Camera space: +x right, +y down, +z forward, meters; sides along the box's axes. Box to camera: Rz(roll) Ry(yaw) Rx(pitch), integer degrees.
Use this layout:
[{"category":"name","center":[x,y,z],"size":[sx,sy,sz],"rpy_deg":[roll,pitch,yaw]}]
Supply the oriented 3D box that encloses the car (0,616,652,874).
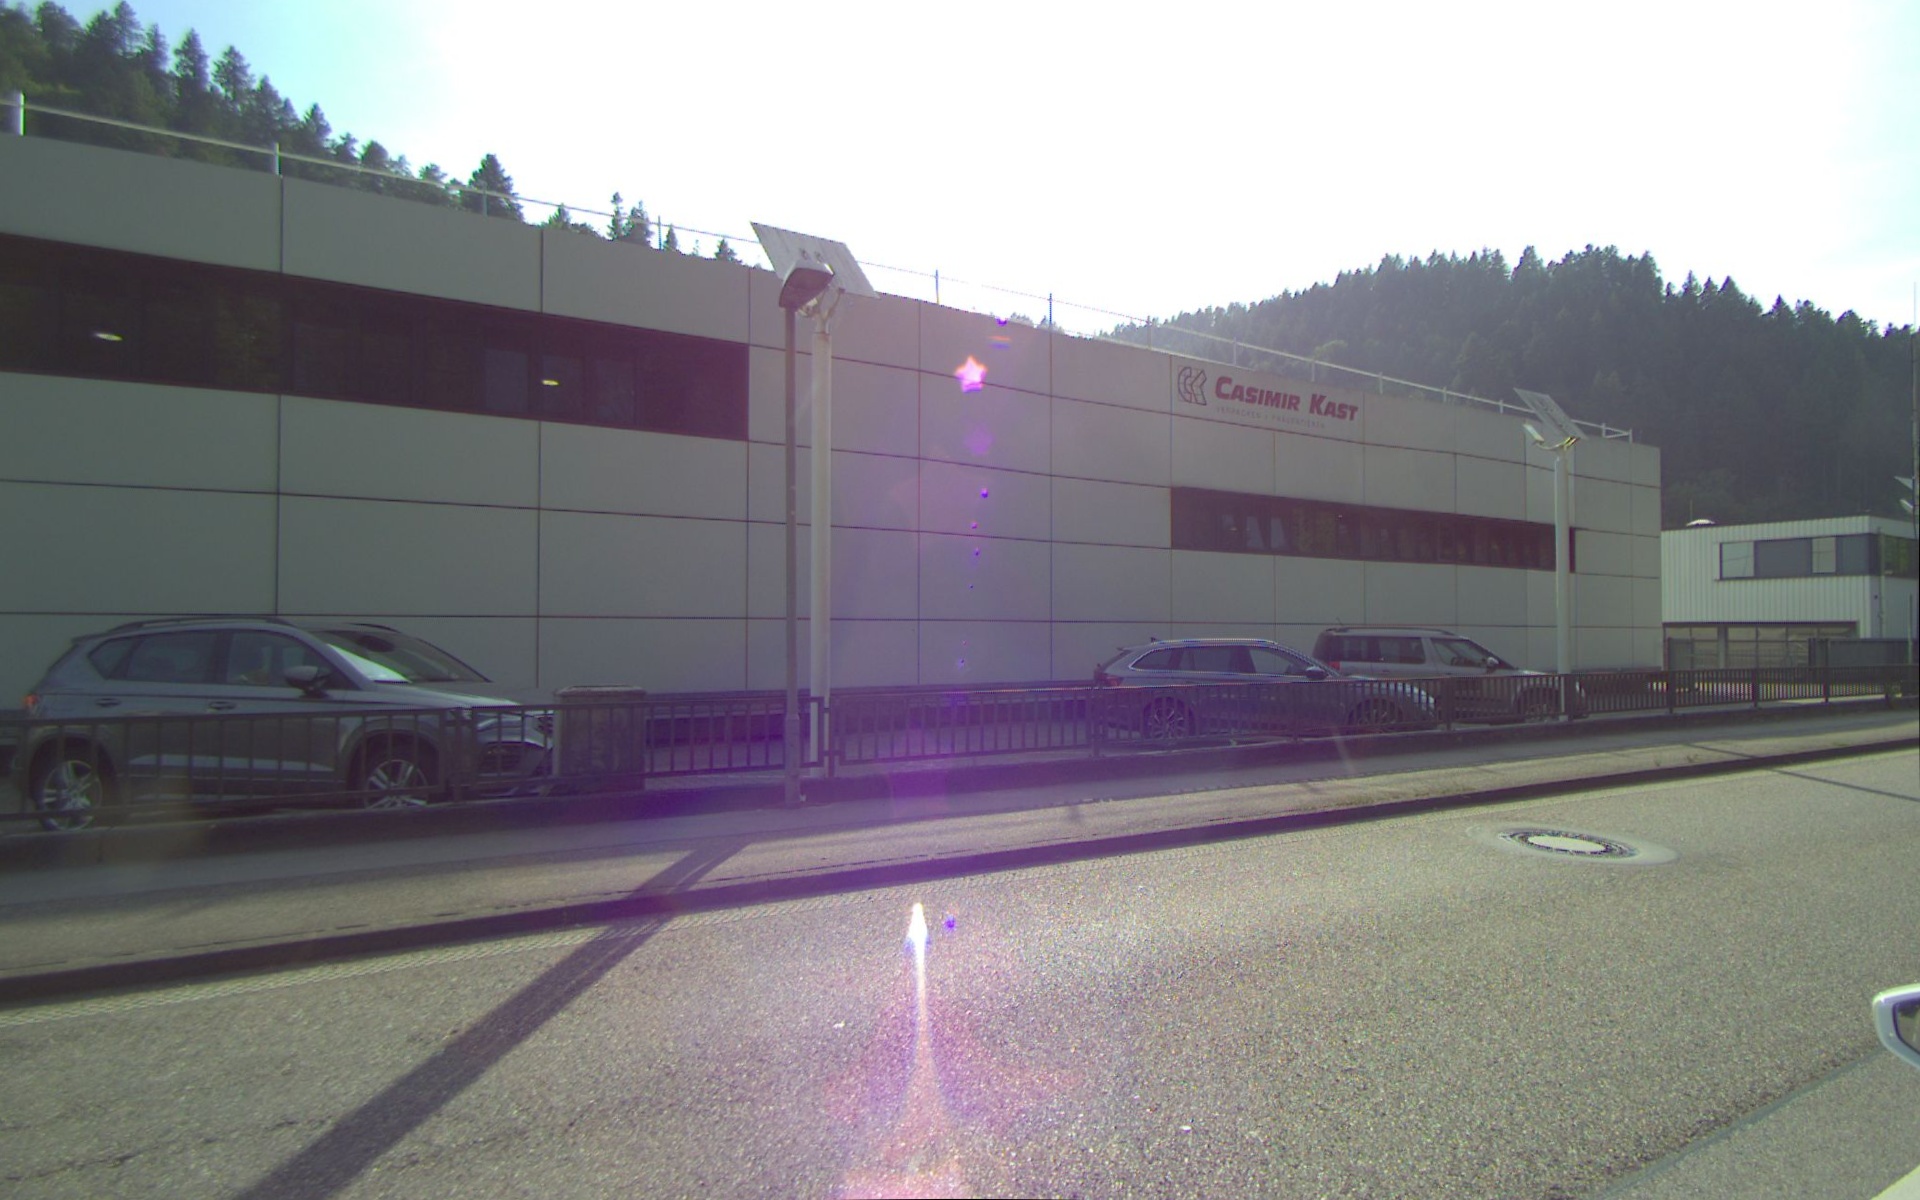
[{"category":"car","center":[-4.756,0.958,7.801],"size":[4.090,1.613,1.890],"rpy_deg":[0,-1,12]}]

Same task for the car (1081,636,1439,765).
[{"category":"car","center":[3.959,1.292,13.804],"size":[4.397,1.514,1.890],"rpy_deg":[0,-1,12]}]

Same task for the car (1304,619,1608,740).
[{"category":"car","center":[7.735,1.202,16.043],"size":[4.027,1.731,1.783],"rpy_deg":[0,-1,12]}]
